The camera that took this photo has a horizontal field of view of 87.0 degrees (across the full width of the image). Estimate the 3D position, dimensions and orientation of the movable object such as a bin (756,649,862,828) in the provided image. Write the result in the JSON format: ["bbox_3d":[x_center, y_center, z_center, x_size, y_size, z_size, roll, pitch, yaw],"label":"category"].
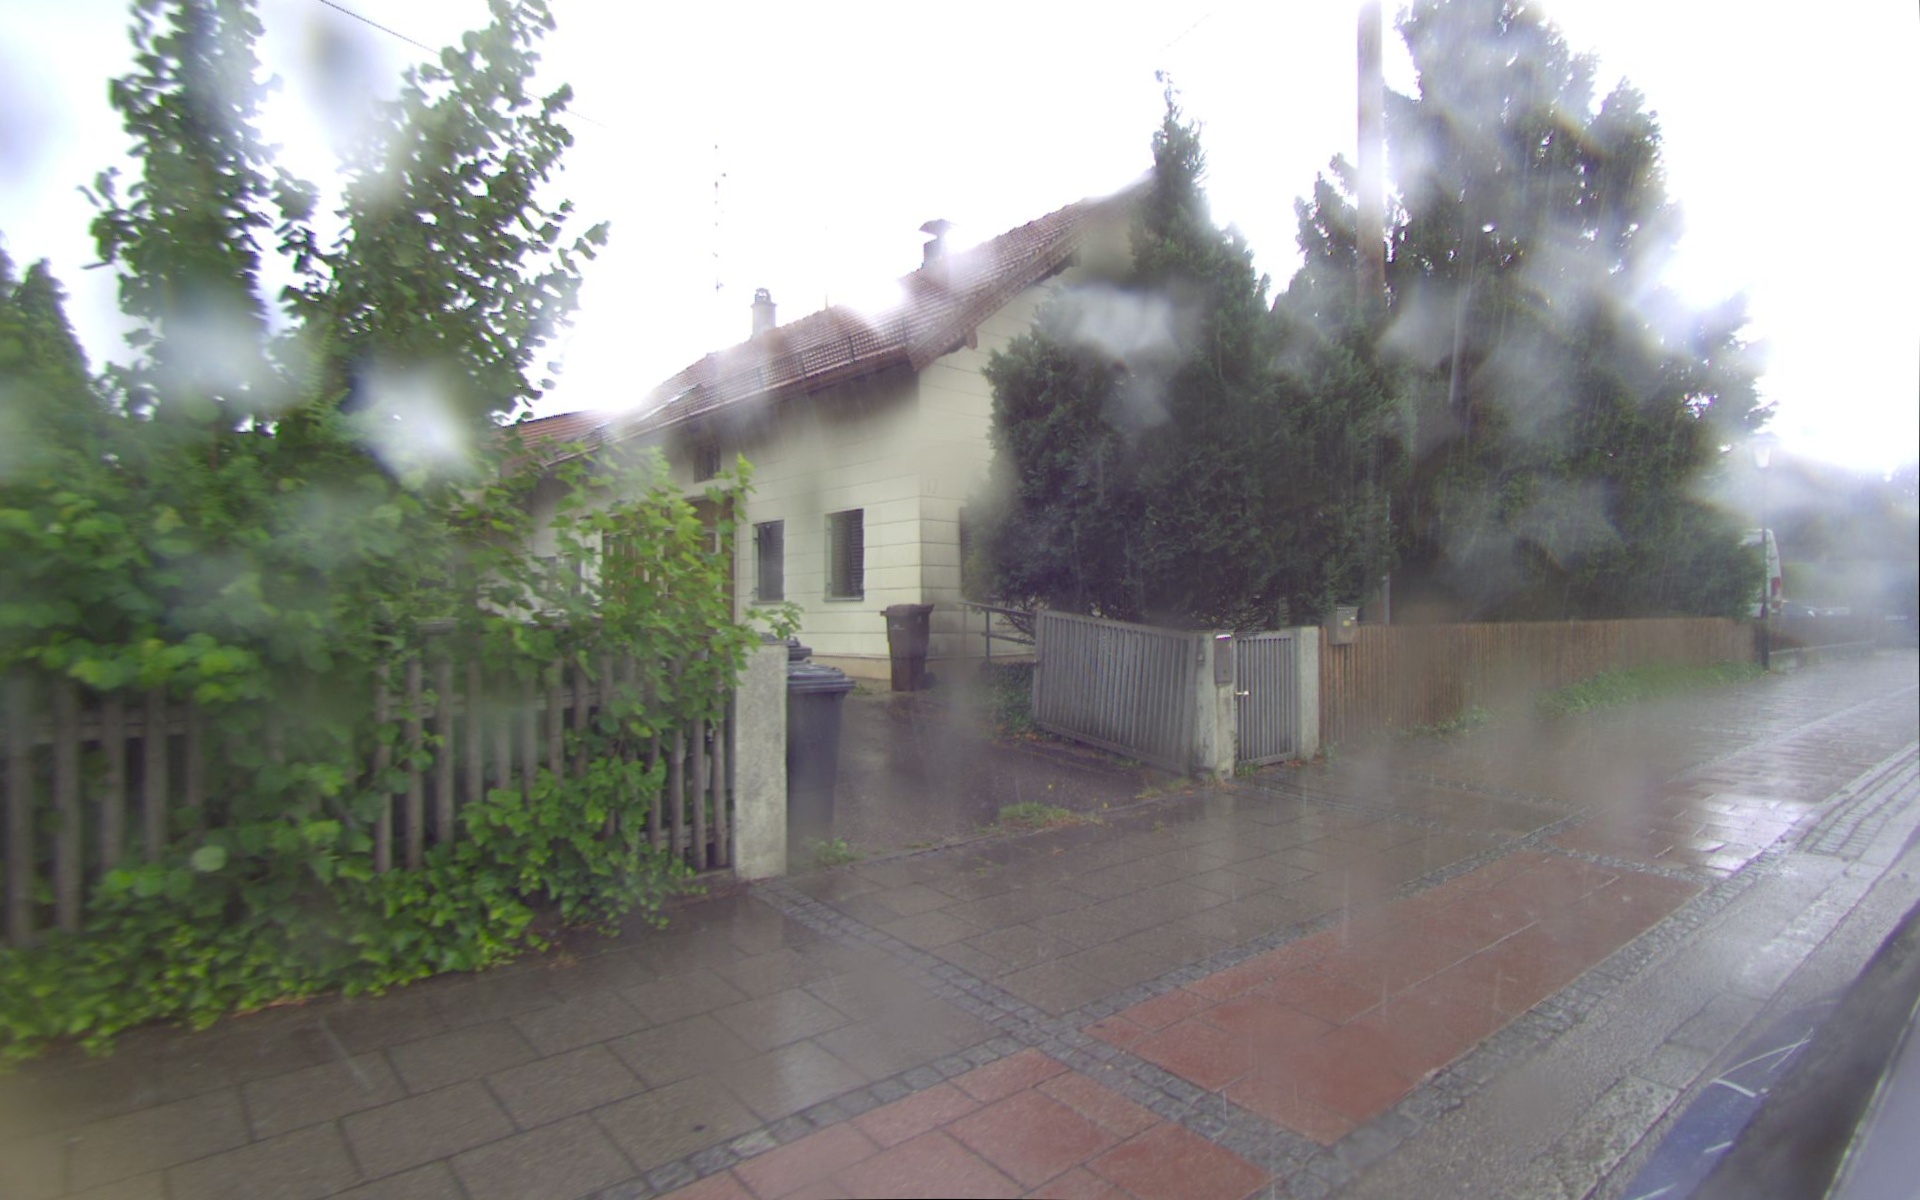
[{"bbox_3d":[-0.889,0.785,5.941,0.439,0.947,0.434,0,2,-39],"label":"movable object such as a bin"}]

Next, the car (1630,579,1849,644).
[{"bbox_3d":[20.478,0.230,26.709,4.429,1.438,1.802,4,3,43],"label":"car"}]

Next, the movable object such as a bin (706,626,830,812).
[{"bbox_3d":[-1.216,0.715,6.391,0.543,1.053,0.576,0,3,-39],"label":"movable object such as a bin"}]

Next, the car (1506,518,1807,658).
[{"bbox_3d":[15.380,-0.360,22.574,5.300,2.761,1.970,3,2,42],"label":"car"}]
